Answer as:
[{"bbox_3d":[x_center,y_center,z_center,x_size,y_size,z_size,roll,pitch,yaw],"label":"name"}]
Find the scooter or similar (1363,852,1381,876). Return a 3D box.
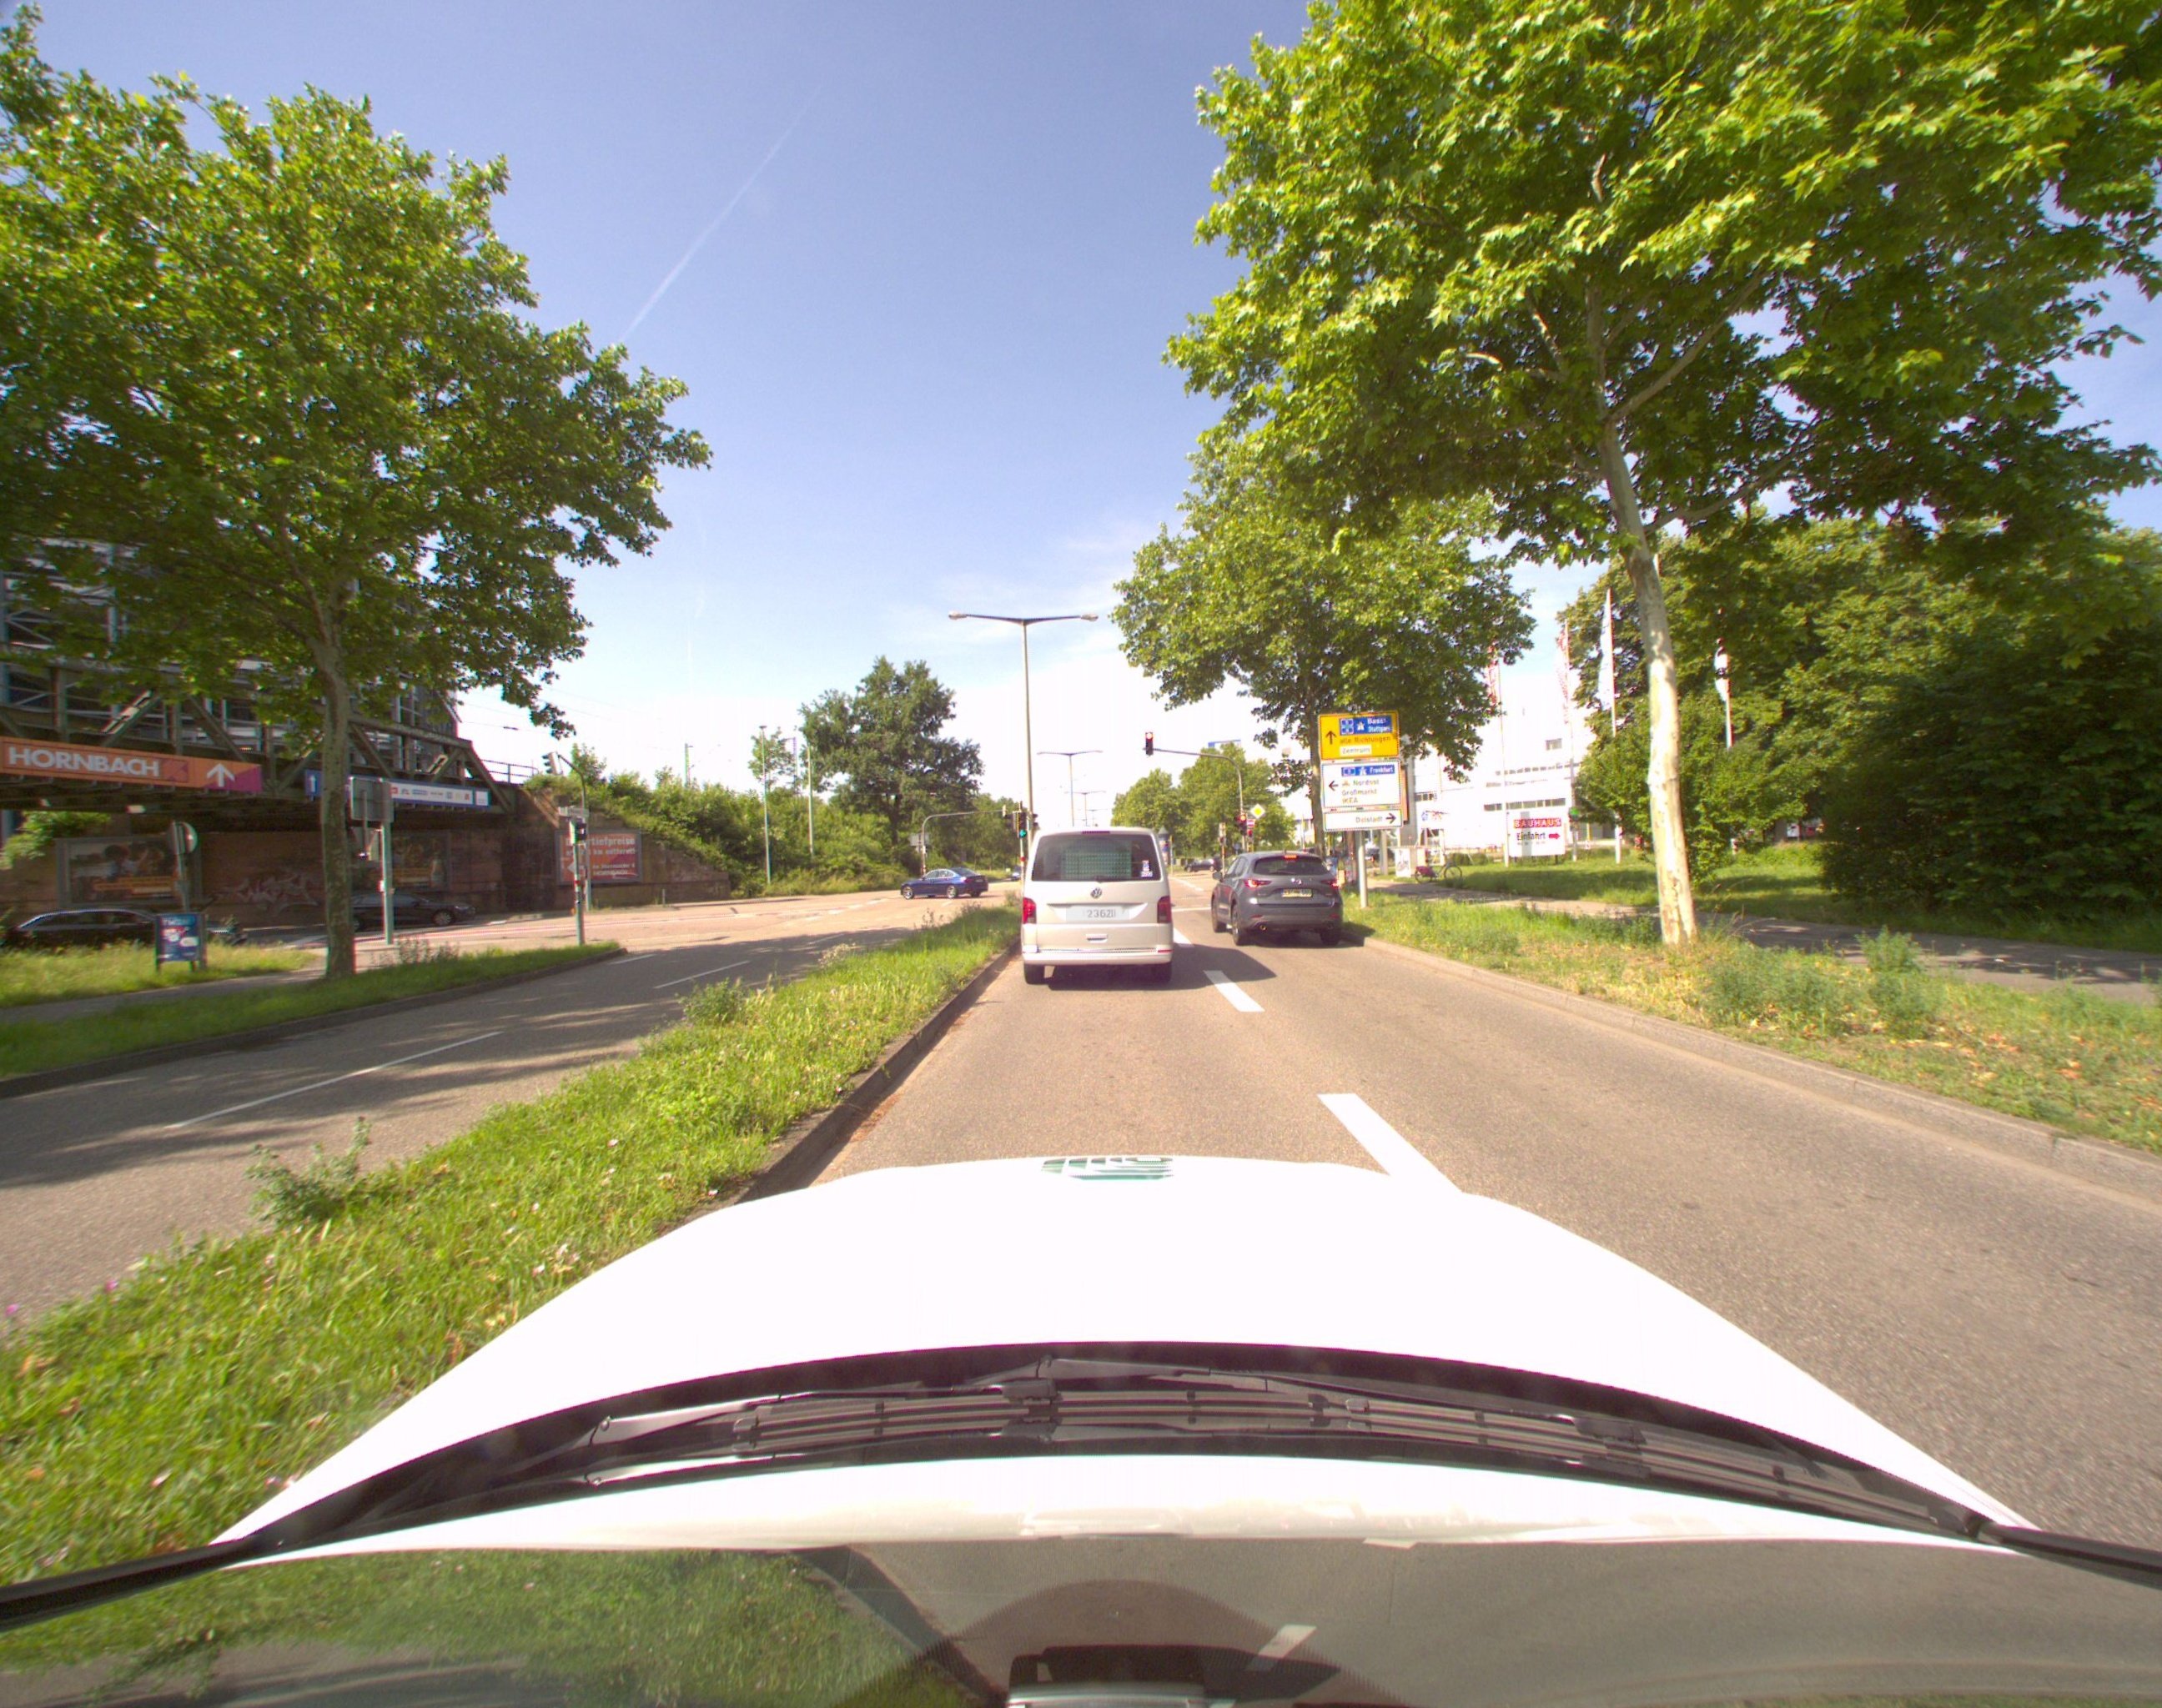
[{"bbox_3d":[14.009,0.475,39.242,0.423,1.126,1.124,-3,-1,1],"label":"scooter or similar"}]

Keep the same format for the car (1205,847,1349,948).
[{"bbox_3d":[3.607,0.745,15.806,1.759,1.659,4.497,-1,-1,1],"label":"car"}]

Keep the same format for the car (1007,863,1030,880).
[{"bbox_3d":[-5.981,1.679,78.416,1.844,1.561,3.999,-3,-1,0],"label":"car"}]

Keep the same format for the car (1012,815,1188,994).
[{"bbox_3d":[0.289,0.597,11.745,1.934,1.971,5.023,-2,-1,2],"label":"car"}]

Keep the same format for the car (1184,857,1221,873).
[{"bbox_3d":[12.340,1.115,82.738,3.569,1.566,2.007,-1,-1,14],"label":"car"}]

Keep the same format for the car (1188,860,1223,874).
[{"bbox_3d":[12.576,1.327,82.513,3.232,1.236,1.648,-3,0,0],"label":"car"}]

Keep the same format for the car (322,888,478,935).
[{"bbox_3d":[-25.766,2.147,31.037,4.353,1.395,1.752,-3,0,-35],"label":"car"}]

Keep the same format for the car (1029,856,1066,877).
[{"bbox_3d":[-2.633,0.982,63.058,1.848,1.510,4.371,-3,-1,-15],"label":"car"}]

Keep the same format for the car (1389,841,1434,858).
[{"bbox_3d":[31.877,-0.482,78.505,4.646,1.444,1.762,-2,-1,-35],"label":"car"}]

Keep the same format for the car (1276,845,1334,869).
[{"bbox_3d":[18.065,0.218,65.592,4.646,1.689,1.895,-2,-1,-35],"label":"car"}]

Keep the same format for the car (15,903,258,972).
[{"bbox_3d":[-25.365,2.186,22.105,3.959,1.481,1.804,-1,-1,-34],"label":"car"}]

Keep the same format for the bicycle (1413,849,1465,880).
[{"bbox_3d":[14.090,0.419,32.104,1.771,1.108,0.506,-4,-1,20],"label":"bicycle"}]

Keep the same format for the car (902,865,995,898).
[{"bbox_3d":[-6.340,1.334,38.792,4.269,1.397,1.804,-3,-1,35],"label":"car"}]

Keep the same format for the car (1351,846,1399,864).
[{"bbox_3d":[27.182,0.094,75.347,4.646,1.444,1.762,-2,-1,-35],"label":"car"}]
